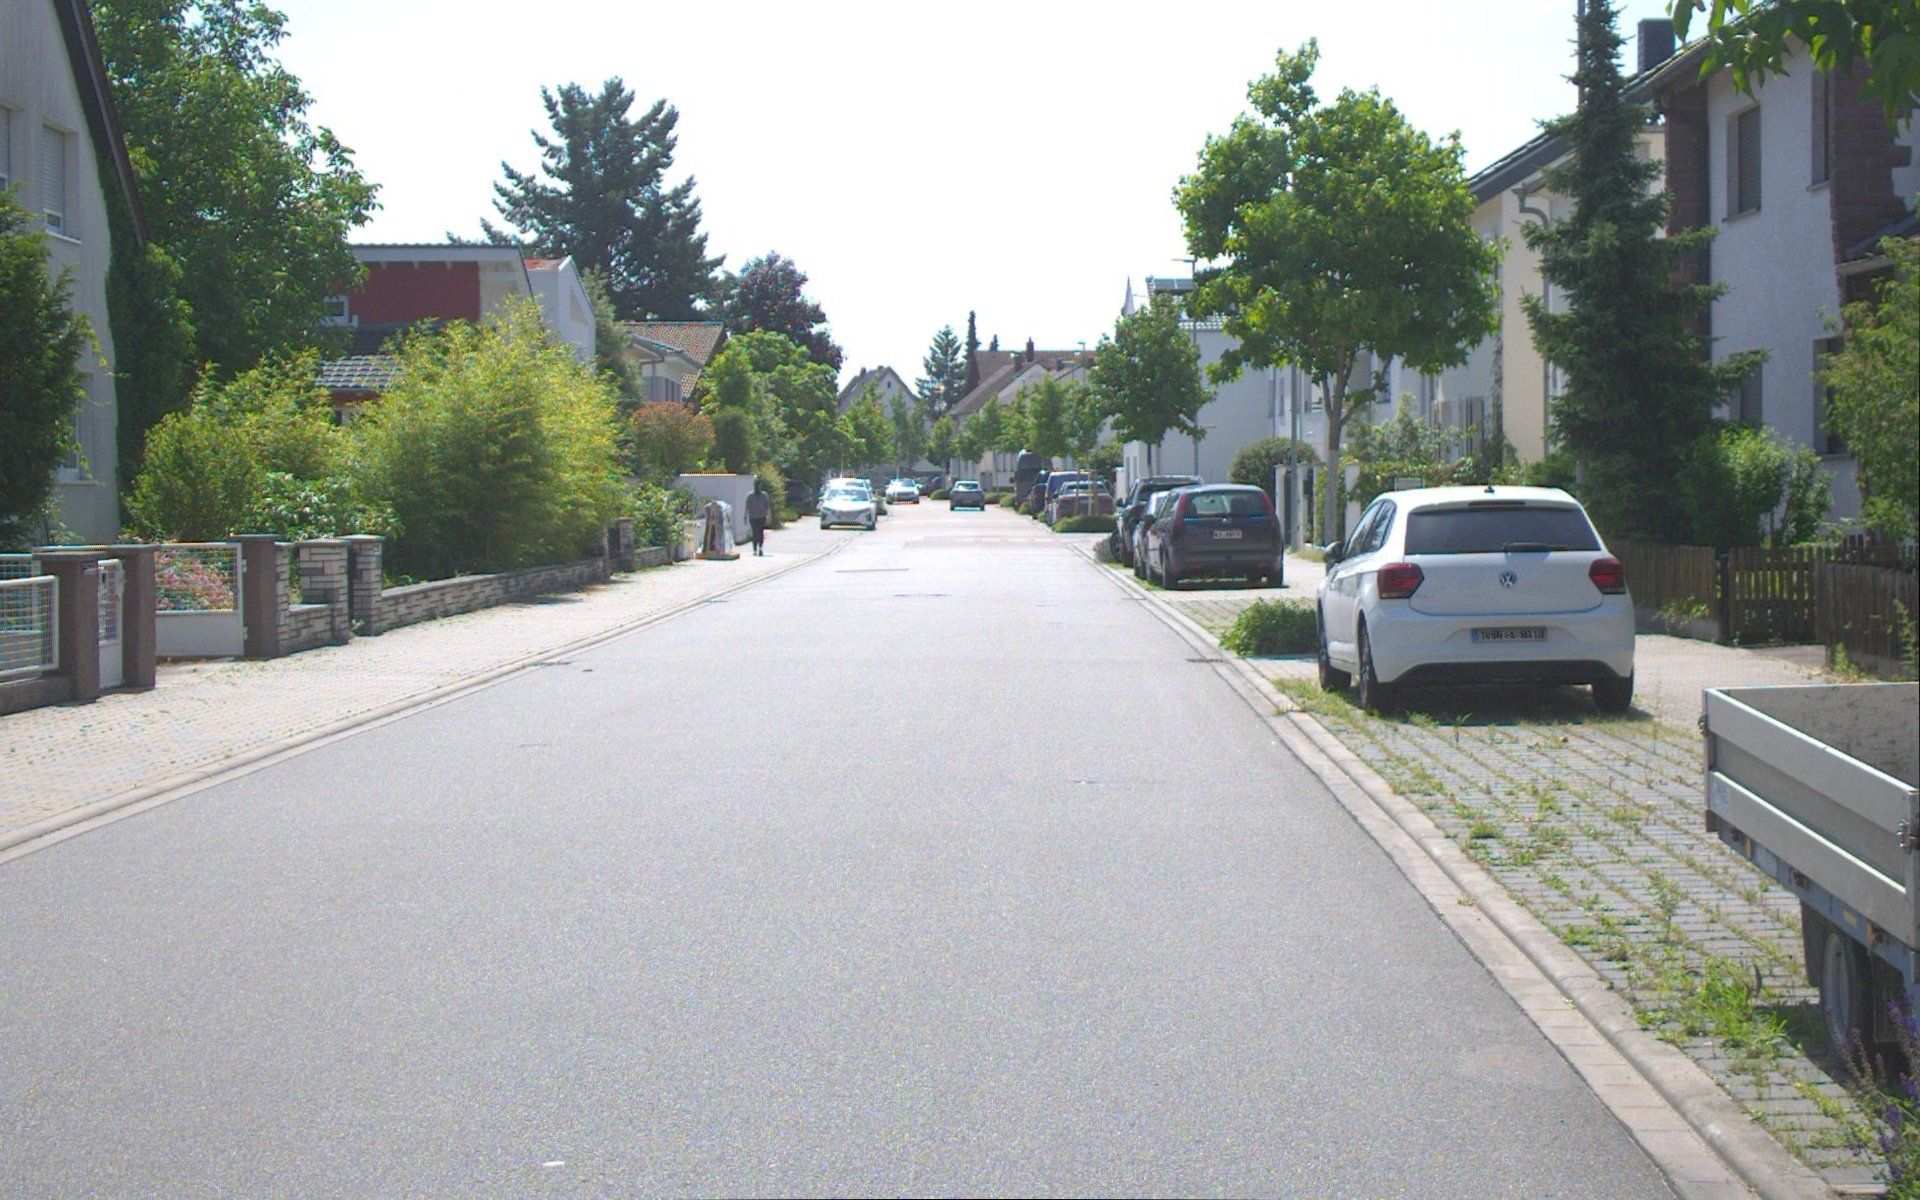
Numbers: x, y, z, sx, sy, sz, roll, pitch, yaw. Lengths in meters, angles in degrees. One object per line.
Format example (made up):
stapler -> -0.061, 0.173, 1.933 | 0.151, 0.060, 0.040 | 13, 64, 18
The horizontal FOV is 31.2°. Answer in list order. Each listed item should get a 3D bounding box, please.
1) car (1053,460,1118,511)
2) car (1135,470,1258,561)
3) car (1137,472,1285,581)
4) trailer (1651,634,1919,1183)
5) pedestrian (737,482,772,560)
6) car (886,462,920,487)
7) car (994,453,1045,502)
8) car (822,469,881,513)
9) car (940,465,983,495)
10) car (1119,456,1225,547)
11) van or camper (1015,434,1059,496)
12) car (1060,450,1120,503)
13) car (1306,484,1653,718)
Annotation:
car -> 3.960, -3.649, 109.144 | 1.773, 1.589, 4.280 | 0, 2, -2
car -> 3.847, -1.417, 56.467 | 1.814, 1.415, 4.093 | 0, 2, 1
car -> 3.657, -1.119, 50.737 | 1.741, 1.528, 4.450 | 0, 2, -2
trailer -> 2.934, 0.687, 8.921 | 1.788, 1.055, 2.899 | 0, 2, 2
pedestrian -> -4.627, -1.793, 77.552 | 0.714, 1.741, 0.961 | 0, 2, 1
car -> -3.471, -7.642, 208.982 | 1.853, 1.473, 4.700 | 0, 2, 2
car -> 2.419, -5.002, 140.221 | 1.993, 1.940, 5.215 | -1, 2, 0
car -> -3.691, -3.737, 117.761 | 1.852, 1.482, 4.386 | 0, 2, 0
car -> 0.089, -5.884, 168.688 | 1.993, 1.425, 4.000 | 0, 2, 2
car -> 4.028, -1.912, 65.772 | 1.814, 1.650, 4.565 | 0, 3, 1
van or camper -> 3.698, -6.500, 164.977 | 1.993, 2.931, 4.001 | 0, 2, 0
car -> 4.739, -4.526, 125.757 | 2.099, 1.875, 4.843 | 0, 2, 1
car -> 3.400, -0.058, 23.159 | 1.814, 1.415, 3.868 | 0, 2, 1
